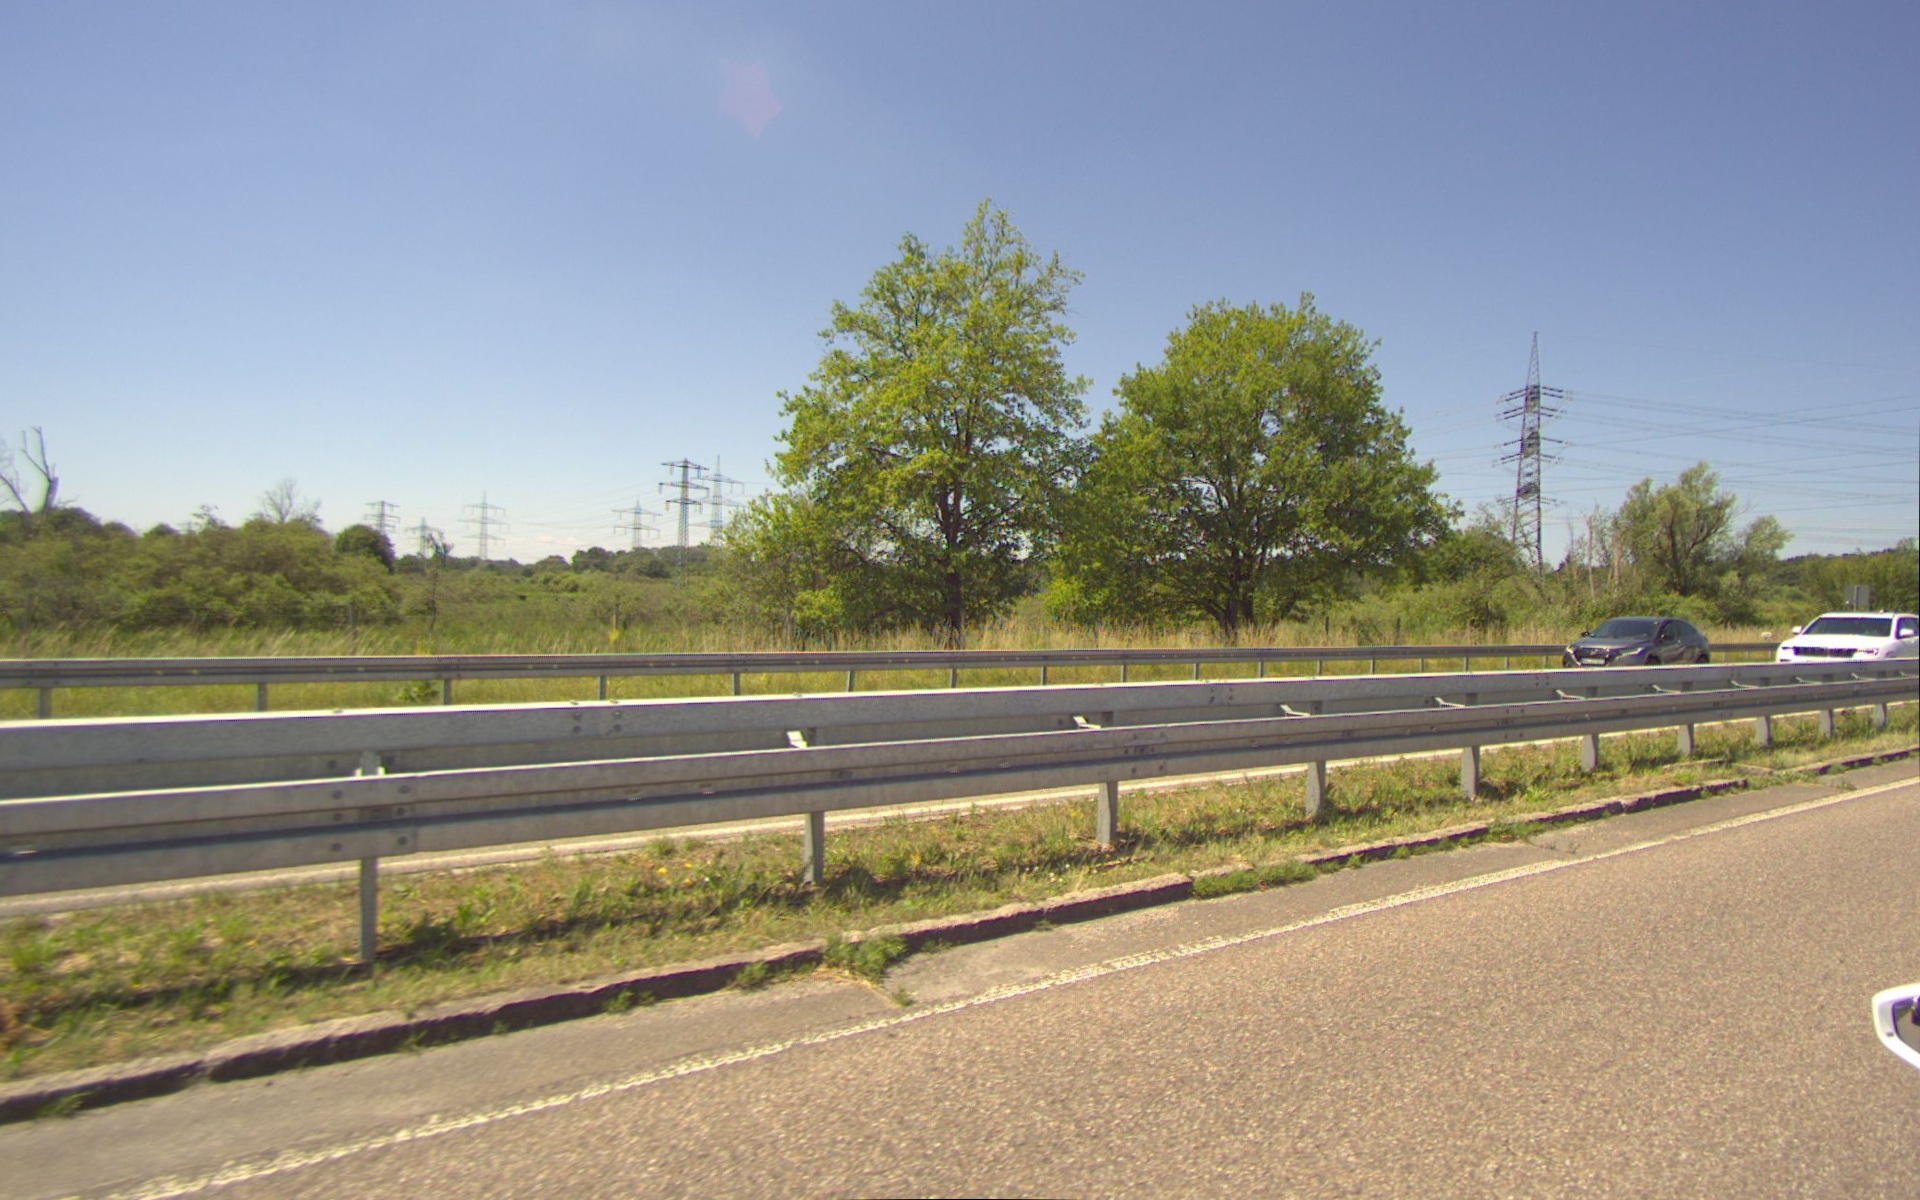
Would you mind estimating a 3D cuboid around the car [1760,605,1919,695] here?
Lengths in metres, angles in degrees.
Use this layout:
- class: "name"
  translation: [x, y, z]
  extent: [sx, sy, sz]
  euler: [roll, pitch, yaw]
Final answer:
- class: "car"
  translation: [20.455, 1.072, 22.919]
  extent: [4.915, 1.832, 1.968]
  euler: [1, 0, -33]

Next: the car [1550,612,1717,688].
- class: "car"
  translation: [16.123, 1.145, 24.000]
  extent: [4.125, 1.639, 1.831]
  euler: [1, 0, -33]
